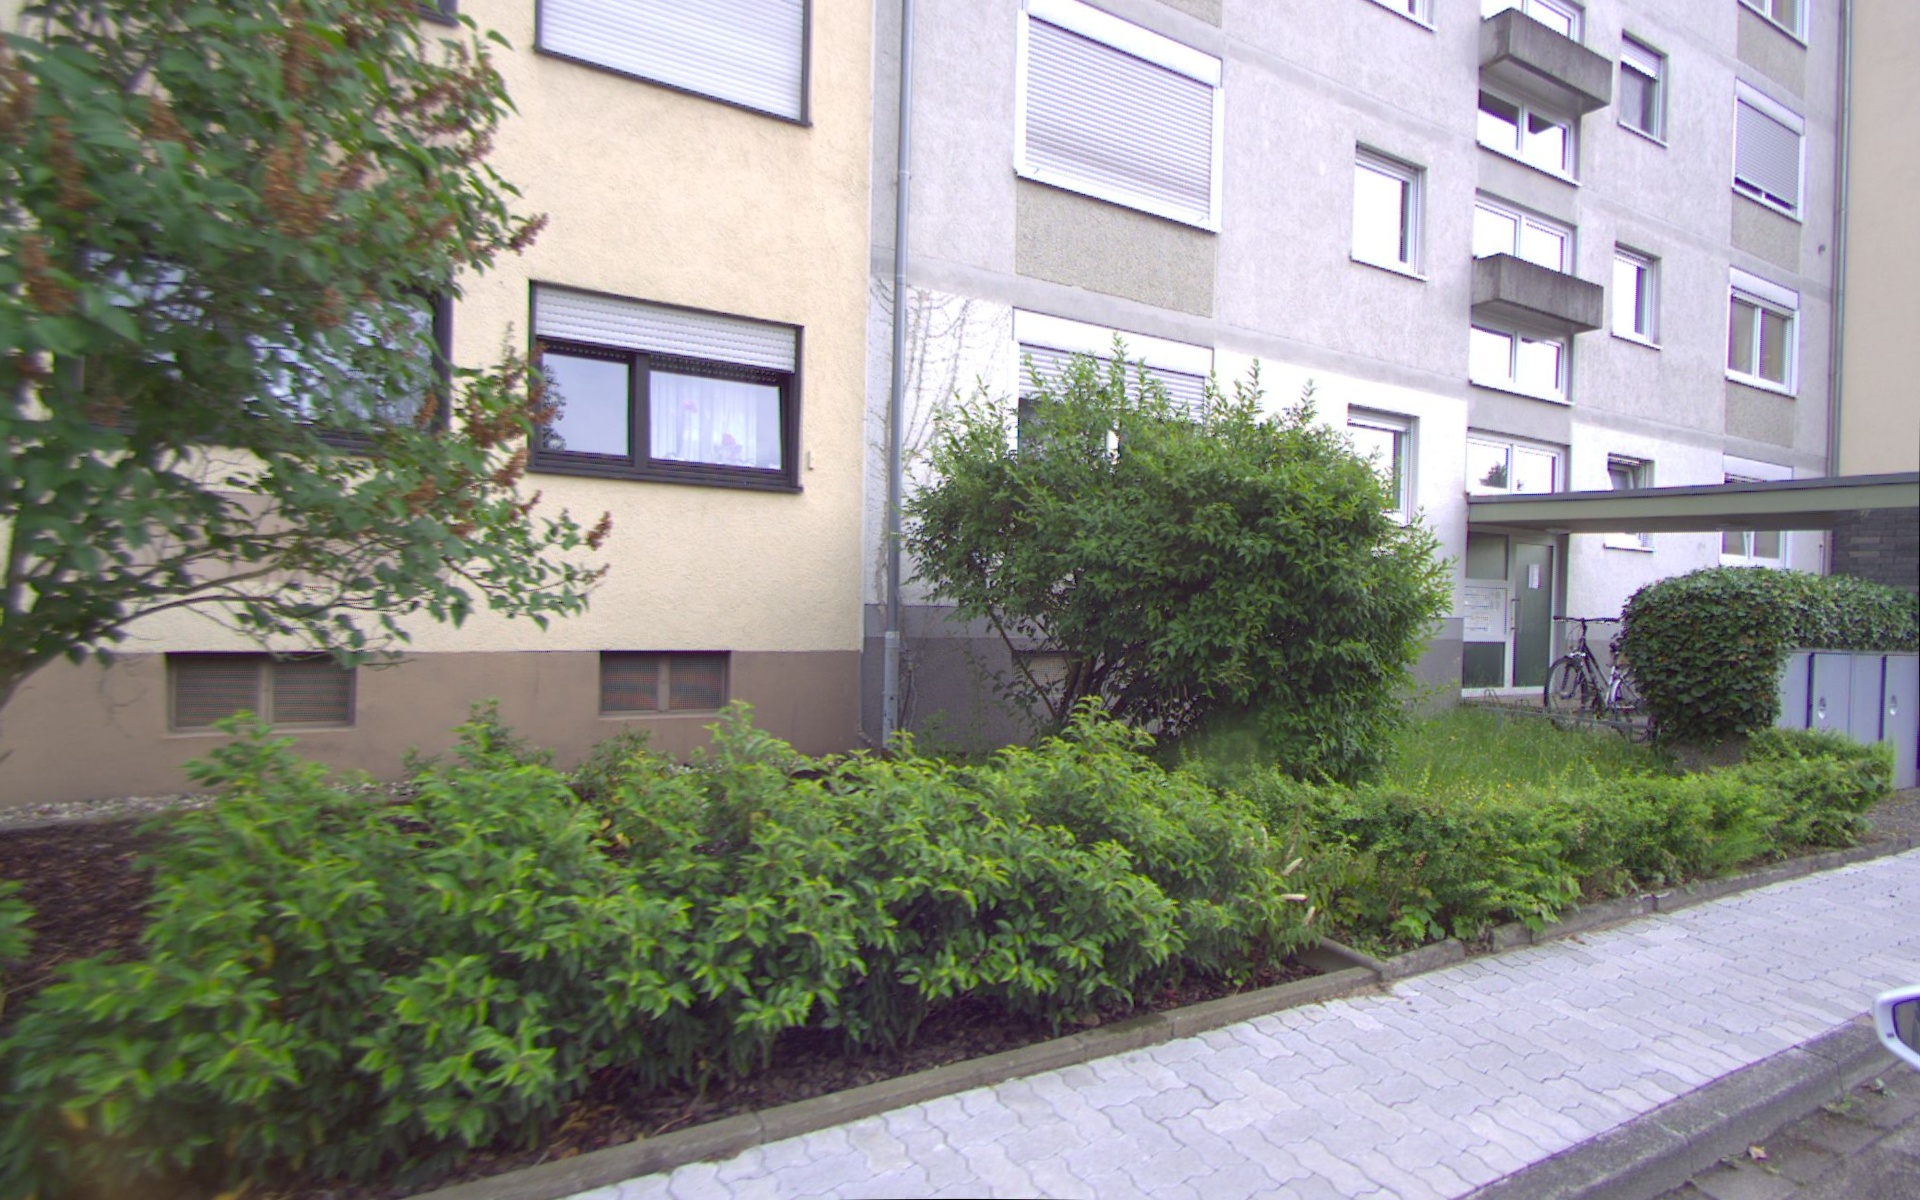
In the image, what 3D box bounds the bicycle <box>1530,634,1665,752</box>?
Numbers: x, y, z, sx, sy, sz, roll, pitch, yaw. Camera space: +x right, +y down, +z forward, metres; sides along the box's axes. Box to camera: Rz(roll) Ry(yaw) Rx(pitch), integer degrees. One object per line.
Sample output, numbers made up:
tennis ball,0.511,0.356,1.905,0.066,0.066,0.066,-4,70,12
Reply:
bicycle,6.170,0.868,9.705,1.528,1.048,0.372,1,2,-29
